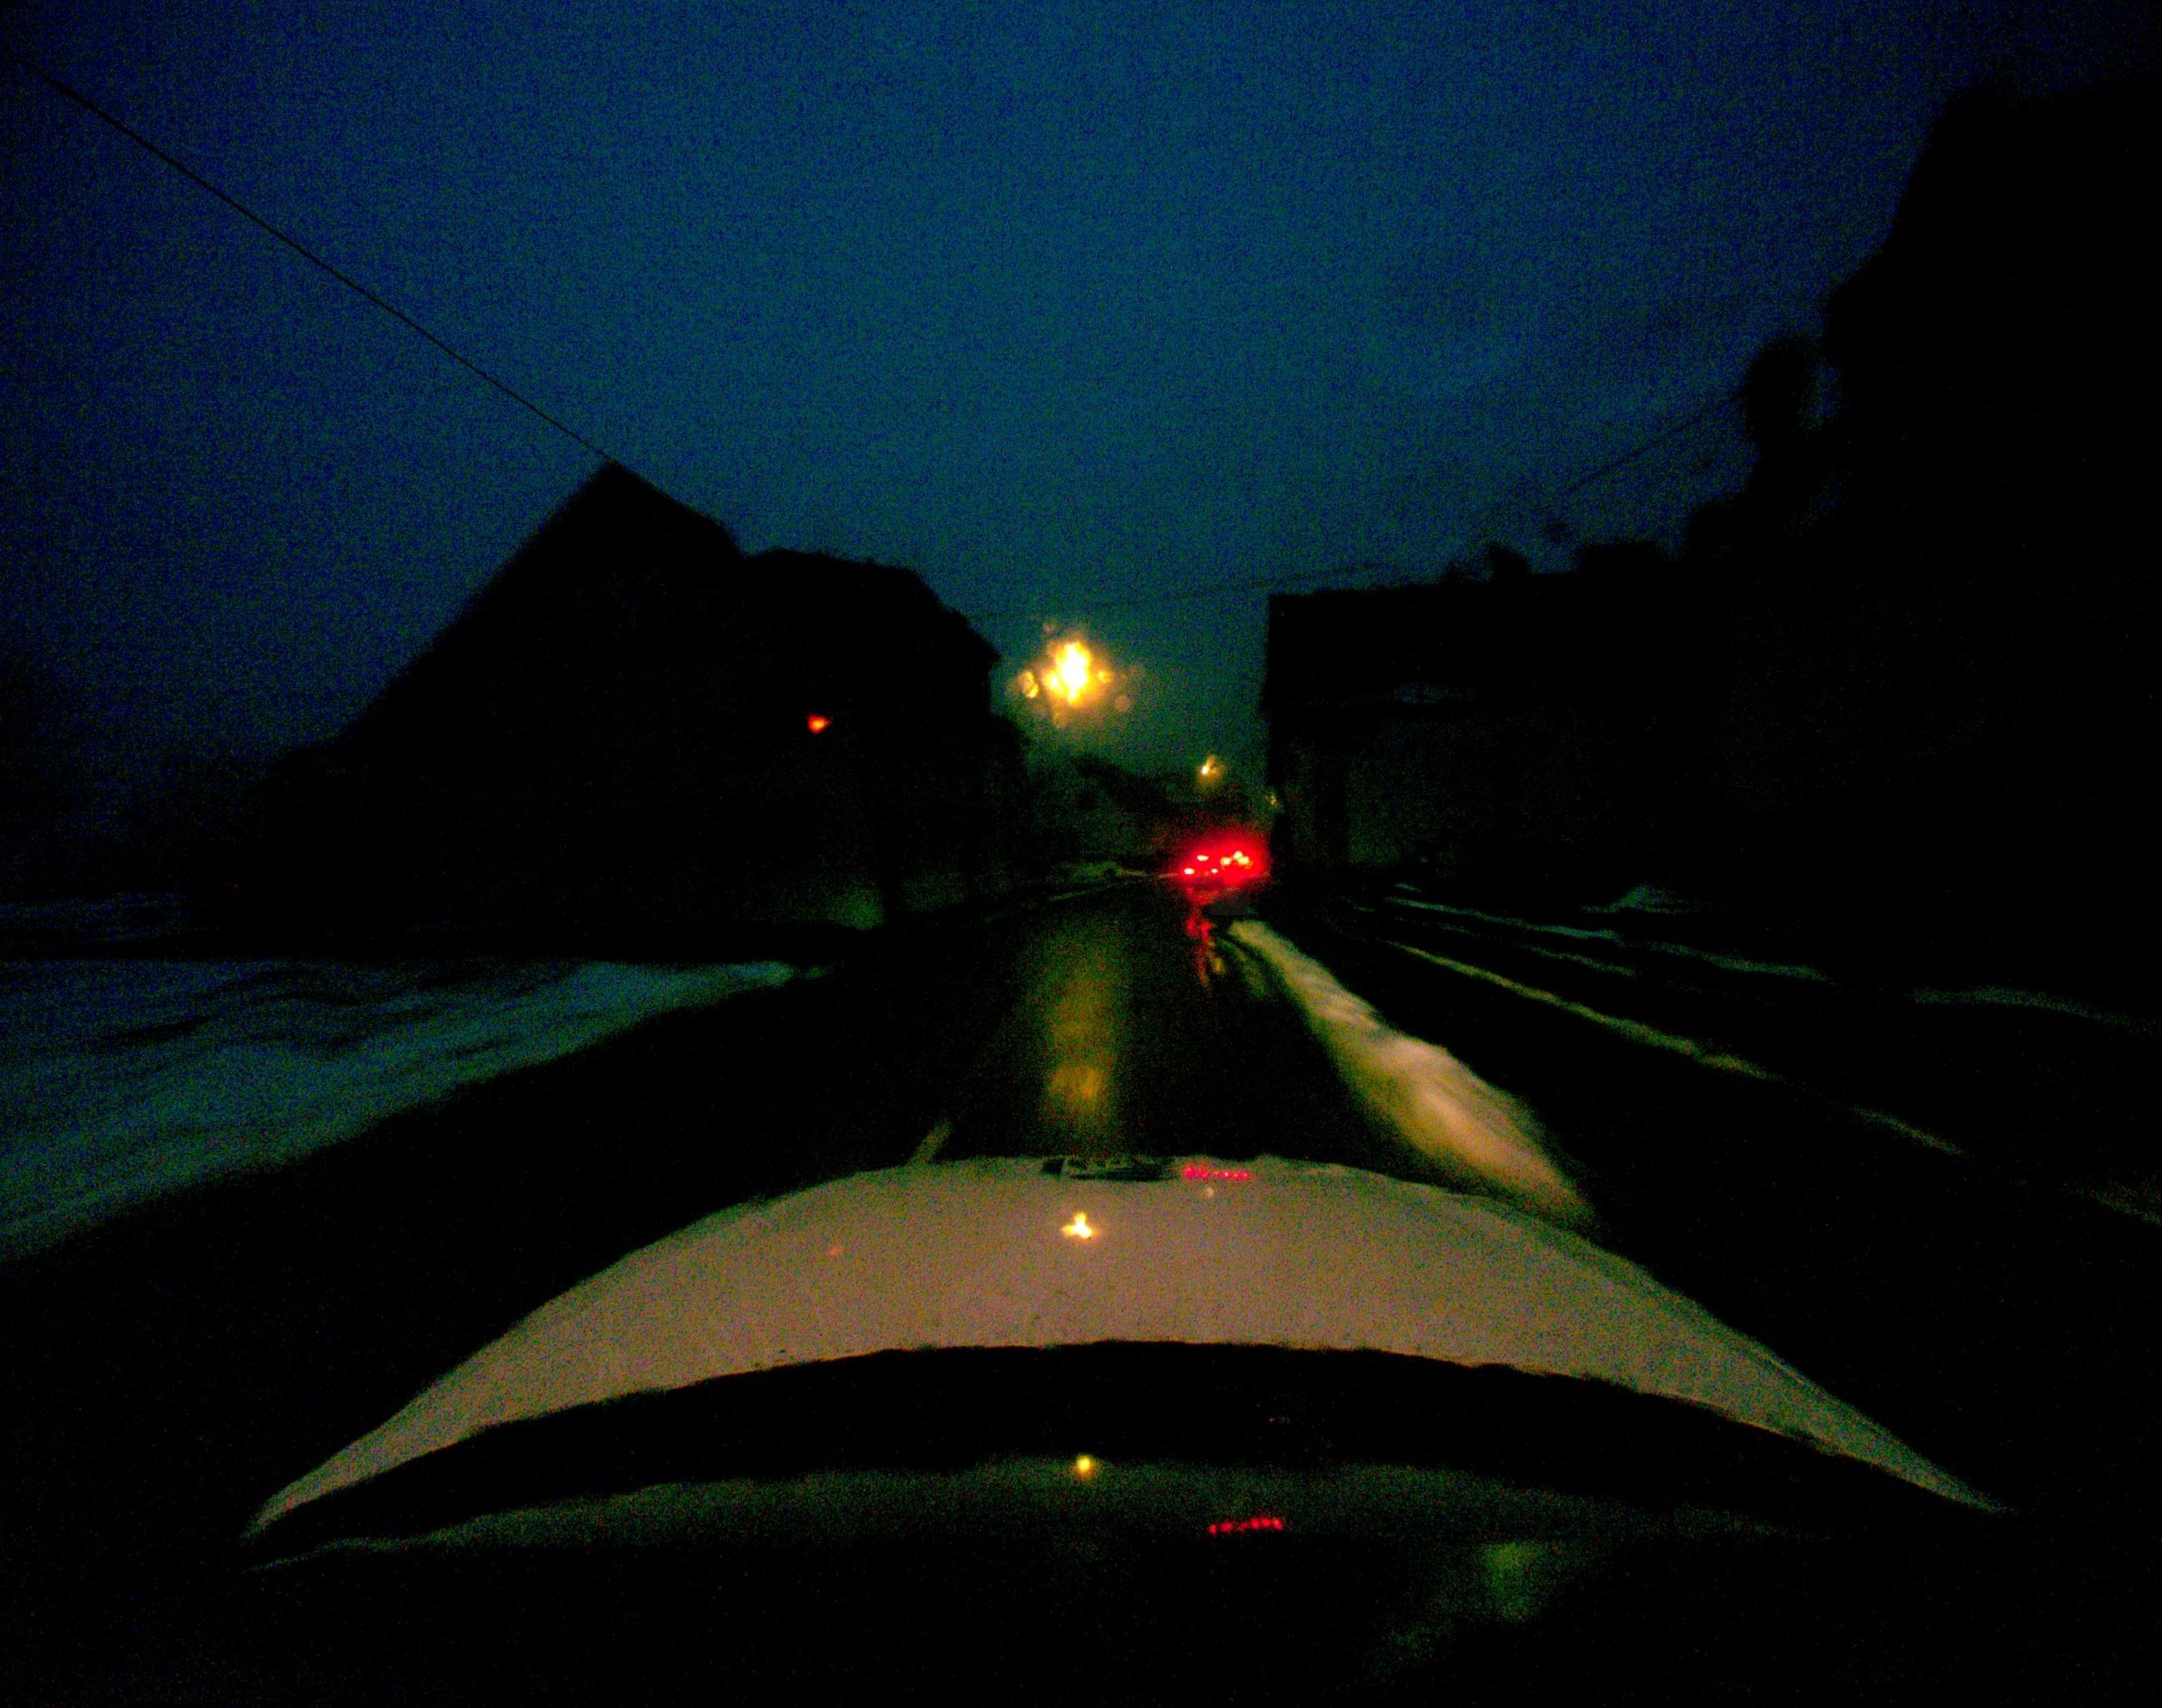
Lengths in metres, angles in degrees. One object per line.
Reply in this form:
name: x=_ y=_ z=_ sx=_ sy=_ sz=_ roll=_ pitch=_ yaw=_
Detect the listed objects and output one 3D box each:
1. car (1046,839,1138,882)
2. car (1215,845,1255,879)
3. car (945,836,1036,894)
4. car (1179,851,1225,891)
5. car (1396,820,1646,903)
car: x=0.627 y=0.354 z=46.883 sx=4.691 sy=2.013 sz=2.011 roll=-4 pitch=3 yaw=21
car: x=10.461 y=0.527 z=55.187 sx=1.977 sy=1.837 sz=4.021 roll=-4 pitch=3 yaw=19
car: x=-4.332 y=0.489 z=38.654 sx=3.988 sy=2.277 sz=1.994 roll=-6 pitch=3 yaw=-10
car: x=6.071 y=0.791 z=40.377 sx=1.981 sy=1.507 sz=4.013 roll=-5 pitch=3 yaw=11
car: x=8.473 y=0.119 z=15.963 sx=3.968 sy=1.452 sz=1.717 roll=-1 pitch=3 yaw=5
